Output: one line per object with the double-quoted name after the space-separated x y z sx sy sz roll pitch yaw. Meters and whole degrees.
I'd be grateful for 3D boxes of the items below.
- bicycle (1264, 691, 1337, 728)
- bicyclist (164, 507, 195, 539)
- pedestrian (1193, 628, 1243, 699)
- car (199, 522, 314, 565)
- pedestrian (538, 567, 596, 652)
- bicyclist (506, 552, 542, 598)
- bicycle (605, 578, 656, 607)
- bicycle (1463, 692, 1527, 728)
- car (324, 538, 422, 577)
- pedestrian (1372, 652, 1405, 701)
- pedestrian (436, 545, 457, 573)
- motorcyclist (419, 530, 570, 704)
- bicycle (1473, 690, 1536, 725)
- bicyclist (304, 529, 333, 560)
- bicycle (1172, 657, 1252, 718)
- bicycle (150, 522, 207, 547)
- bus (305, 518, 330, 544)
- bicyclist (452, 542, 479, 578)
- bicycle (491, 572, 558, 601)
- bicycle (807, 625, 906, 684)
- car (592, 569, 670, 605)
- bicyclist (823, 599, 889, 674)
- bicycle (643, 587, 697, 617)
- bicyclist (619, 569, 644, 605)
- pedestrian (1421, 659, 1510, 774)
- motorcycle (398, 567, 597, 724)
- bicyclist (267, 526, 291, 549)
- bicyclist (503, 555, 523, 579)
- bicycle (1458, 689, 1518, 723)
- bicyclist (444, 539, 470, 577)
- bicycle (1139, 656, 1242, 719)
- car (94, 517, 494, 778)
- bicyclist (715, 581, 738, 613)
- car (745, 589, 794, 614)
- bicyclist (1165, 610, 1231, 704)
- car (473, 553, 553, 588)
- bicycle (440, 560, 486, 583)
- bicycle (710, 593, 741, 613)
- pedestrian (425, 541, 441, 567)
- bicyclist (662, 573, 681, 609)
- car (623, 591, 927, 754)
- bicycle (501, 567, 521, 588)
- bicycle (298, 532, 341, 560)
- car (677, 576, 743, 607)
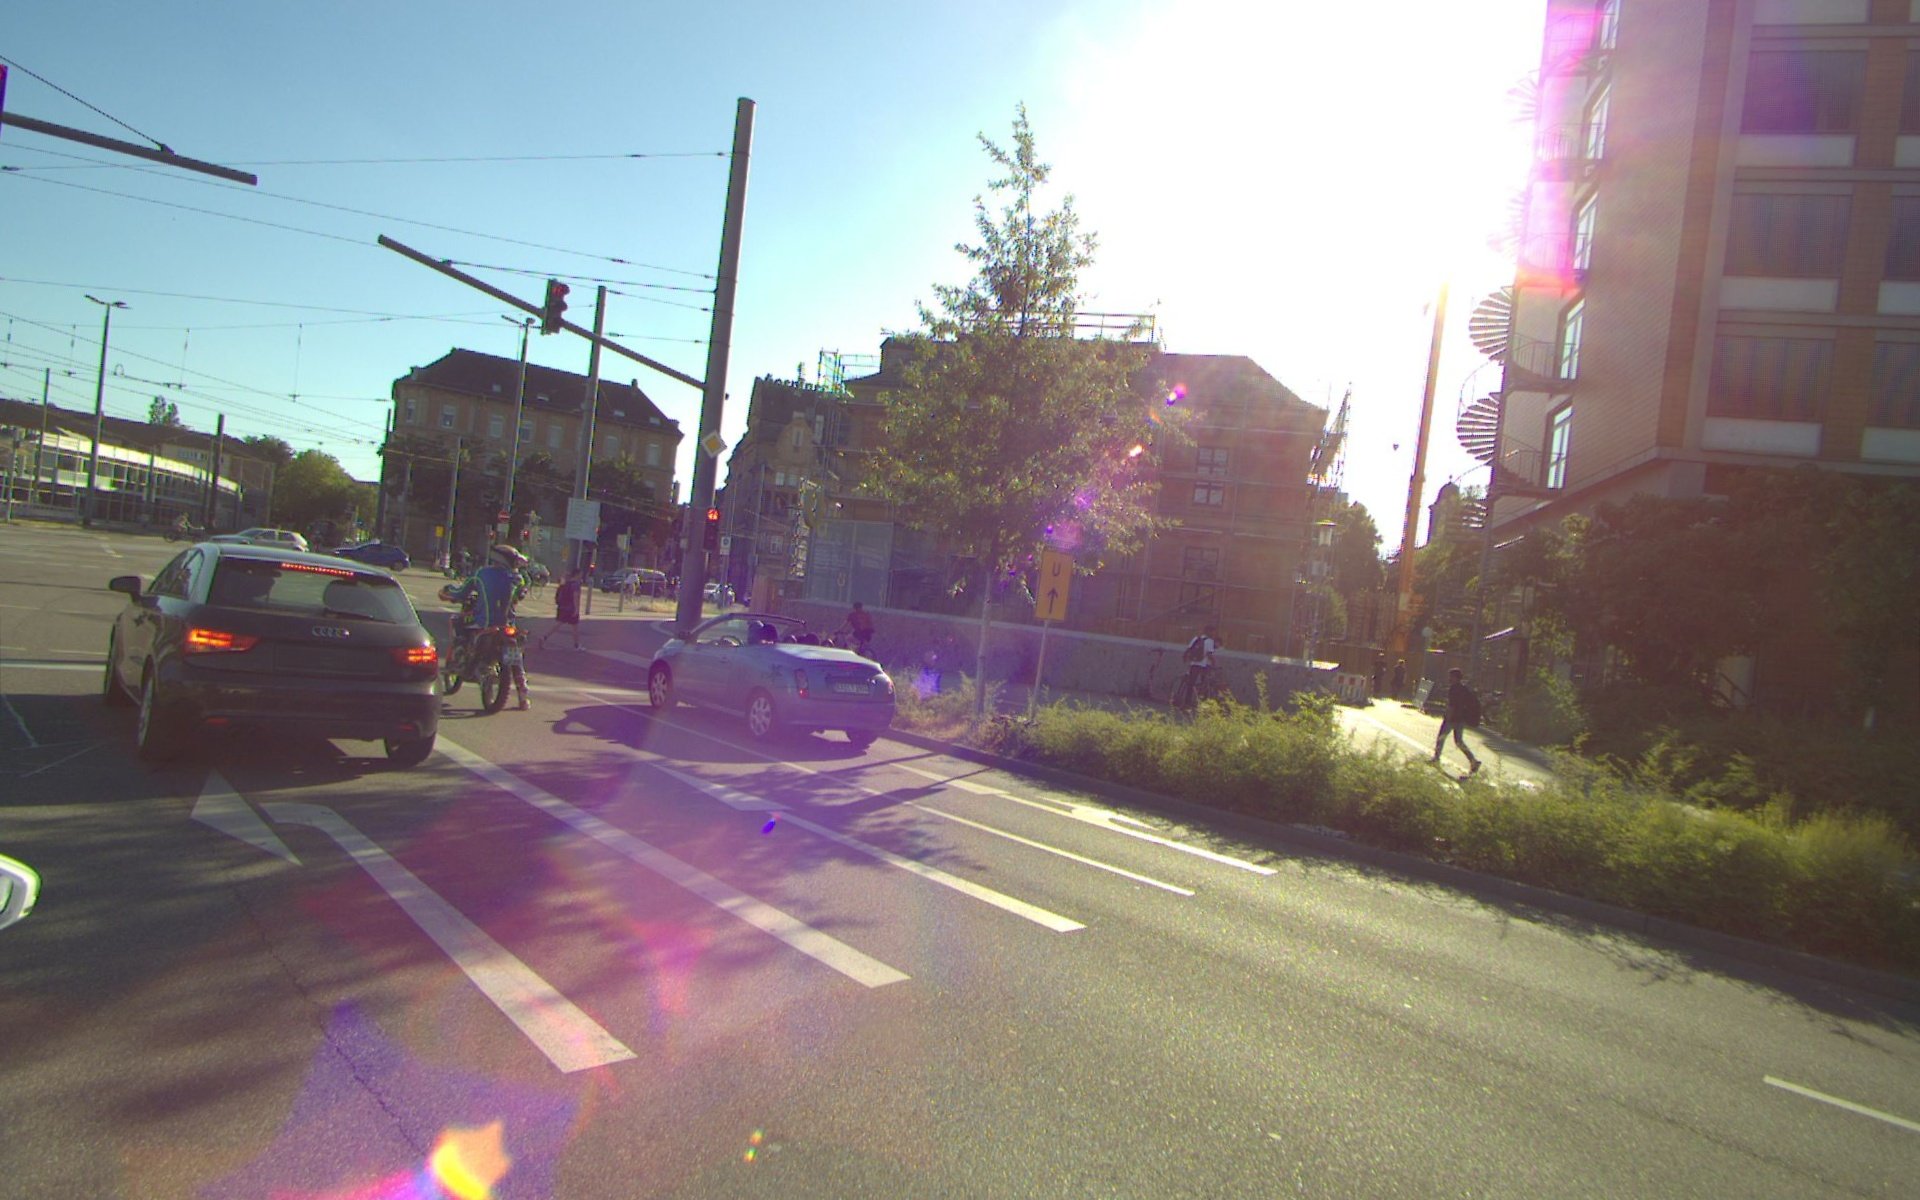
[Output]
7.130 2.295 21.096 1.335 0.547 0.429 7 2 32 "bicycle"
-43.281 -4.246 55.790 0.844 1.578 0.926 9 1 23 "bicyclist"
6.842 1.680 26.634 0.921 1.745 0.986 7 0 27 "pedestrian"
-34.298 -2.736 49.152 1.920 1.469 4.104 7 -1 28 "car"
-8.244 0.192 21.134 0.685 1.693 0.829 5 1 7 "pedestrian"
-17.690 -1.016 40.812 0.845 1.711 0.747 9 1 25 "bicyclist"
-16.932 -0.375 51.810 0.845 1.147 2.499 9 0 28 "bicycle"
16.708 3.435 31.440 1.623 0.868 0.529 7 0 15 "bicycle"
-33.776 -2.443 57.937 4.579 1.613 1.934 7 -1 -38 "car"
19.055 3.389 44.737 0.979 2.038 1.296 7 0 32 "pedestrian"
-34.394 -2.735 67.340 0.921 1.696 0.773 6 0 -44 "pedestrian"
-5.093 0.186 11.019 1.093 1.741 0.925 8 -1 -43 "motorcyclist"
17.448 3.454 32.279 1.623 0.868 0.529 7 0 15 "bicycle"
-43.506 -3.743 68.264 1.104 1.924 1.071 8 1 -10 "bicyclist"
5.292 1.819 21.255 0.619 1.052 1.955 5 0 -18 "bicycle"
-43.337 -3.634 55.839 0.844 0.991 2.303 9 0 23 "bicycle"
-86.656 -9.315 135.581 2.341 2.918 9.486 8 0 -34 "bus"
-25.639 -2.083 52.181 0.844 1.711 0.651 9 1 11 "bicyclist"
-17.706 -0.529 40.943 0.845 0.885 2.500 9 0 24 "bicycle"
-2.155 1.094 20.608 0.718 0.963 2.222 8 -3 -44 "bicycle"
-22.346 -0.847 68.495 1.920 1.916 4.843 7 -1 29 "car"
-2.140 0.747 20.641 0.718 1.400 1.062 8 -2 -44 "bicyclist"
-14.666 0.110 50.942 2.467 1.147 0.856 9 0 -20 "bicycle"
-16.911 -0.686 51.784 0.845 1.711 0.650 9 1 28 "bicyclist"
8.168 1.875 16.265 0.800 1.677 0.785 9 -2 -28 "pedestrian"
-5.118 0.451 11.007 1.093 1.393 2.621 8 -2 -43 "motorcycle"
-39.975 -3.676 59.055 0.822 1.157 0.715 9 1 17 "bicyclist"
-24.251 -1.785 54.554 0.850 1.191 0.710 8 1 -25 "bicyclist"
17.651 3.544 33.644 1.623 0.868 0.529 7 0 15 "bicycle"
-25.773 -2.139 51.558 0.850 1.799 0.585 7 0 12 "bicyclist"
4.659 1.770 20.485 0.784 1.052 1.944 4 0 -36 "bicycle"
-5.327 0.262 7.808 1.797 1.461 3.929 9 -2 -44 "car"
-13.368 -0.166 57.551 0.844 1.711 0.651 9 1 9 "bicyclist"
-16.092 0.131 85.124 1.916 1.582 4.358 9 0 22 "car"
4.854 1.151 20.516 0.782 1.809 0.885 4 1 -36 "bicyclist"
-26.306 -1.719 59.370 1.917 1.504 4.104 7 -1 19 "car"
-25.726 -1.482 52.150 0.844 0.916 2.305 9 0 11 "bicycle"
-13.416 0.177 57.650 0.844 0.916 2.305 9 0 9 "bicycle"
-35.570 -3.110 67.867 0.546 1.674 0.641 7 0 8 "pedestrian"
-14.618 -0.463 50.923 0.642 1.711 0.856 8 1 -20 "bicyclist"
-2.464 0.849 12.729 1.797 1.461 3.929 9 -2 -44 "car"
-24.414 -1.244 54.732 0.849 0.916 2.289 8 0 -24 "bicycle"
-43.518 -3.647 68.415 1.121 1.710 3.987 8 0 -14 "bicycle"
-19.220 -0.665 77.464 1.921 1.821 4.841 7 -1 32 "car"
